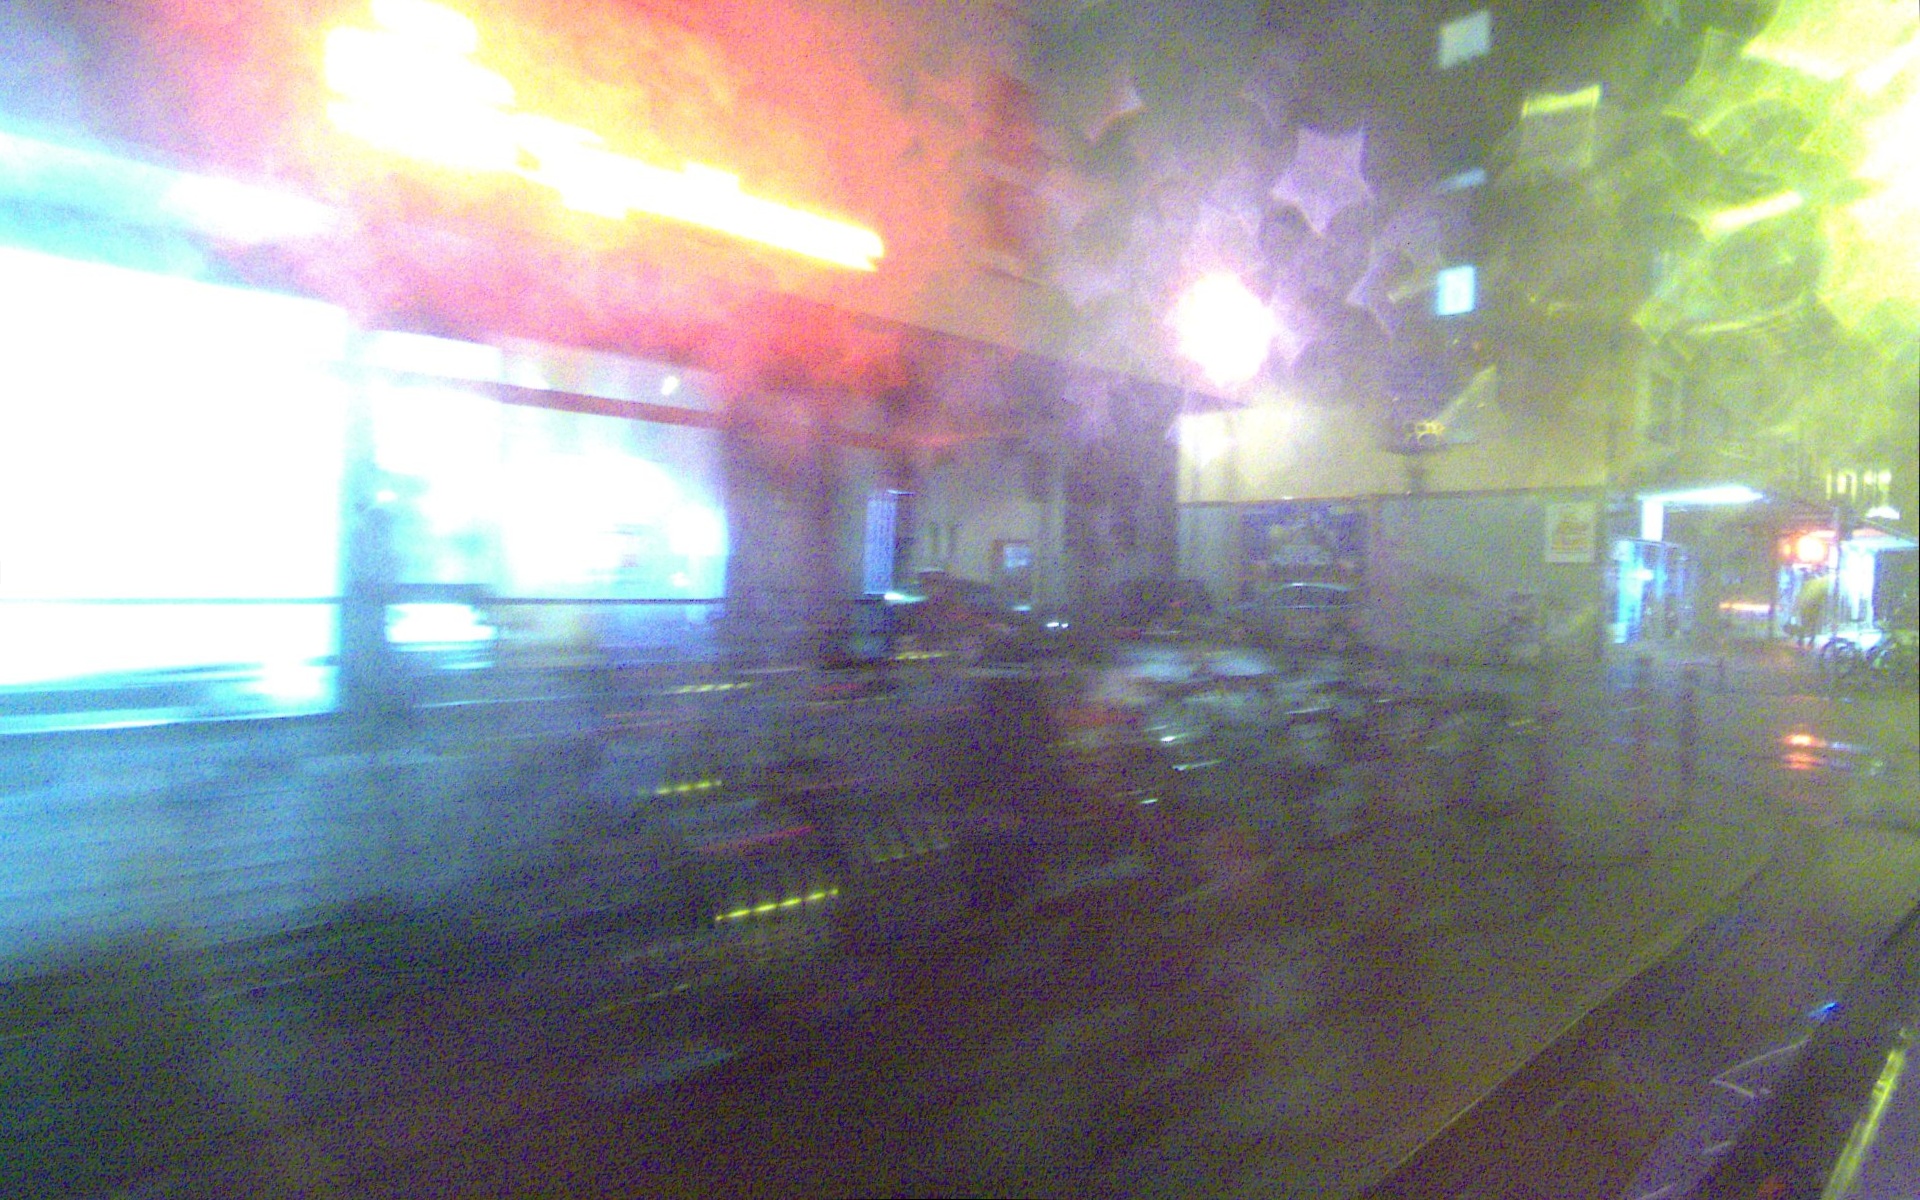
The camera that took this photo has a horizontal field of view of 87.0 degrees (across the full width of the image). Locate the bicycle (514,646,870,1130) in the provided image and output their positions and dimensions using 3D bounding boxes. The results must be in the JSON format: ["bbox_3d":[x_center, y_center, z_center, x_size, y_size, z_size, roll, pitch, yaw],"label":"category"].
[{"bbox_3d":[-0.934,0.765,3.213,0.360,0.963,1.532,-1,9,-44],"label":"bicycle"}]

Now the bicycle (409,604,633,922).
[{"bbox_3d":[-1.960,0.611,4.398,0.360,0.963,1.532,-1,9,-44],"label":"bicycle"}]

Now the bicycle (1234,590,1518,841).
[{"bbox_3d":[2.542,0.647,6.354,0.360,1.215,1.533,-1,8,-41],"label":"bicycle"}]

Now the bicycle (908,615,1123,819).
[{"bbox_3d":[0.269,0.630,6.028,0.319,0.843,1.535,0,8,-36],"label":"bicycle"}]

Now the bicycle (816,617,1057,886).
[{"bbox_3d":[-0.185,0.690,5.195,0.359,0.963,1.535,0,8,-36],"label":"bicycle"}]

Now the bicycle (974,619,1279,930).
[{"bbox_3d":[0.707,0.726,4.814,0.359,1.035,1.535,0,8,-36],"label":"bicycle"}]

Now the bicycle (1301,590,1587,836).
[{"bbox_3d":[3.020,0.645,6.474,0.359,1.215,1.535,0,8,-37],"label":"bicycle"}]

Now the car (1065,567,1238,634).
[{"bbox_3d":[4.745,-0.004,25.513,1.964,1.527,3.995,0,0,-39],"label":"car"}]

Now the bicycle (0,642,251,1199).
[{"bbox_3d":[-1.987,0.718,2.467,0.359,0.963,1.537,1,8,-33],"label":"bicycle"}]

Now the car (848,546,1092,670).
[{"bbox_3d":[0.048,0.081,16.816,1.810,1.792,4.154,0,1,-39],"label":"car"}]

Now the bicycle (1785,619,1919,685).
[{"bbox_3d":[15.335,0.853,17.075,0.605,0.905,2.279,2,3,-11],"label":"bicycle"}]

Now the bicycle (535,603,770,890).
[{"bbox_3d":[-1.512,0.606,4.800,0.360,0.963,1.531,-1,9,-45],"label":"bicycle"}]

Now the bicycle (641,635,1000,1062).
[{"bbox_3d":[-0.570,0.736,3.529,0.360,0.963,1.532,-1,9,-44],"label":"bicycle"}]

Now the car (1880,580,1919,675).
[{"bbox_3d":[19.620,0.547,19.945,3.788,1.743,1.676,0,3,-41],"label":"car"}]

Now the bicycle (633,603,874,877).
[{"bbox_3d":[-1.077,0.610,5.007,0.360,0.963,1.532,-1,9,-44],"label":"bicycle"}]

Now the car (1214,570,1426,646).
[{"bbox_3d":[7.773,0.127,22.127,1.861,1.504,3.996,0,1,-39],"label":"car"}]

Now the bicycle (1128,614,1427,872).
[{"bbox_3d":[1.692,0.716,5.637,0.360,1.035,1.533,-1,9,-41],"label":"bicycle"}]

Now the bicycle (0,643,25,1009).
[{"bbox_3d":[-2.451,0.722,2.169,0.359,0.963,1.678,1,8,-33],"label":"bicycle"}]

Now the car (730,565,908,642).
[{"bbox_3d":[-3.052,0.025,21.213,1.810,1.452,4.154,0,1,-39],"label":"car"}]

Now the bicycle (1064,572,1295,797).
[{"bbox_3d":[1.443,0.507,6.928,0.360,1.215,1.533,-1,8,-41],"label":"bicycle"}]

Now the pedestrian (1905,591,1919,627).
[{"bbox_3d":[50.731,0.461,53.677,0.764,1.925,0.776,0,0,-40],"label":"pedestrian"}]

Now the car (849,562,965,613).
[{"bbox_3d":[-1.836,-0.427,34.129,1.810,1.623,4.154,0,1,-39],"label":"car"}]
